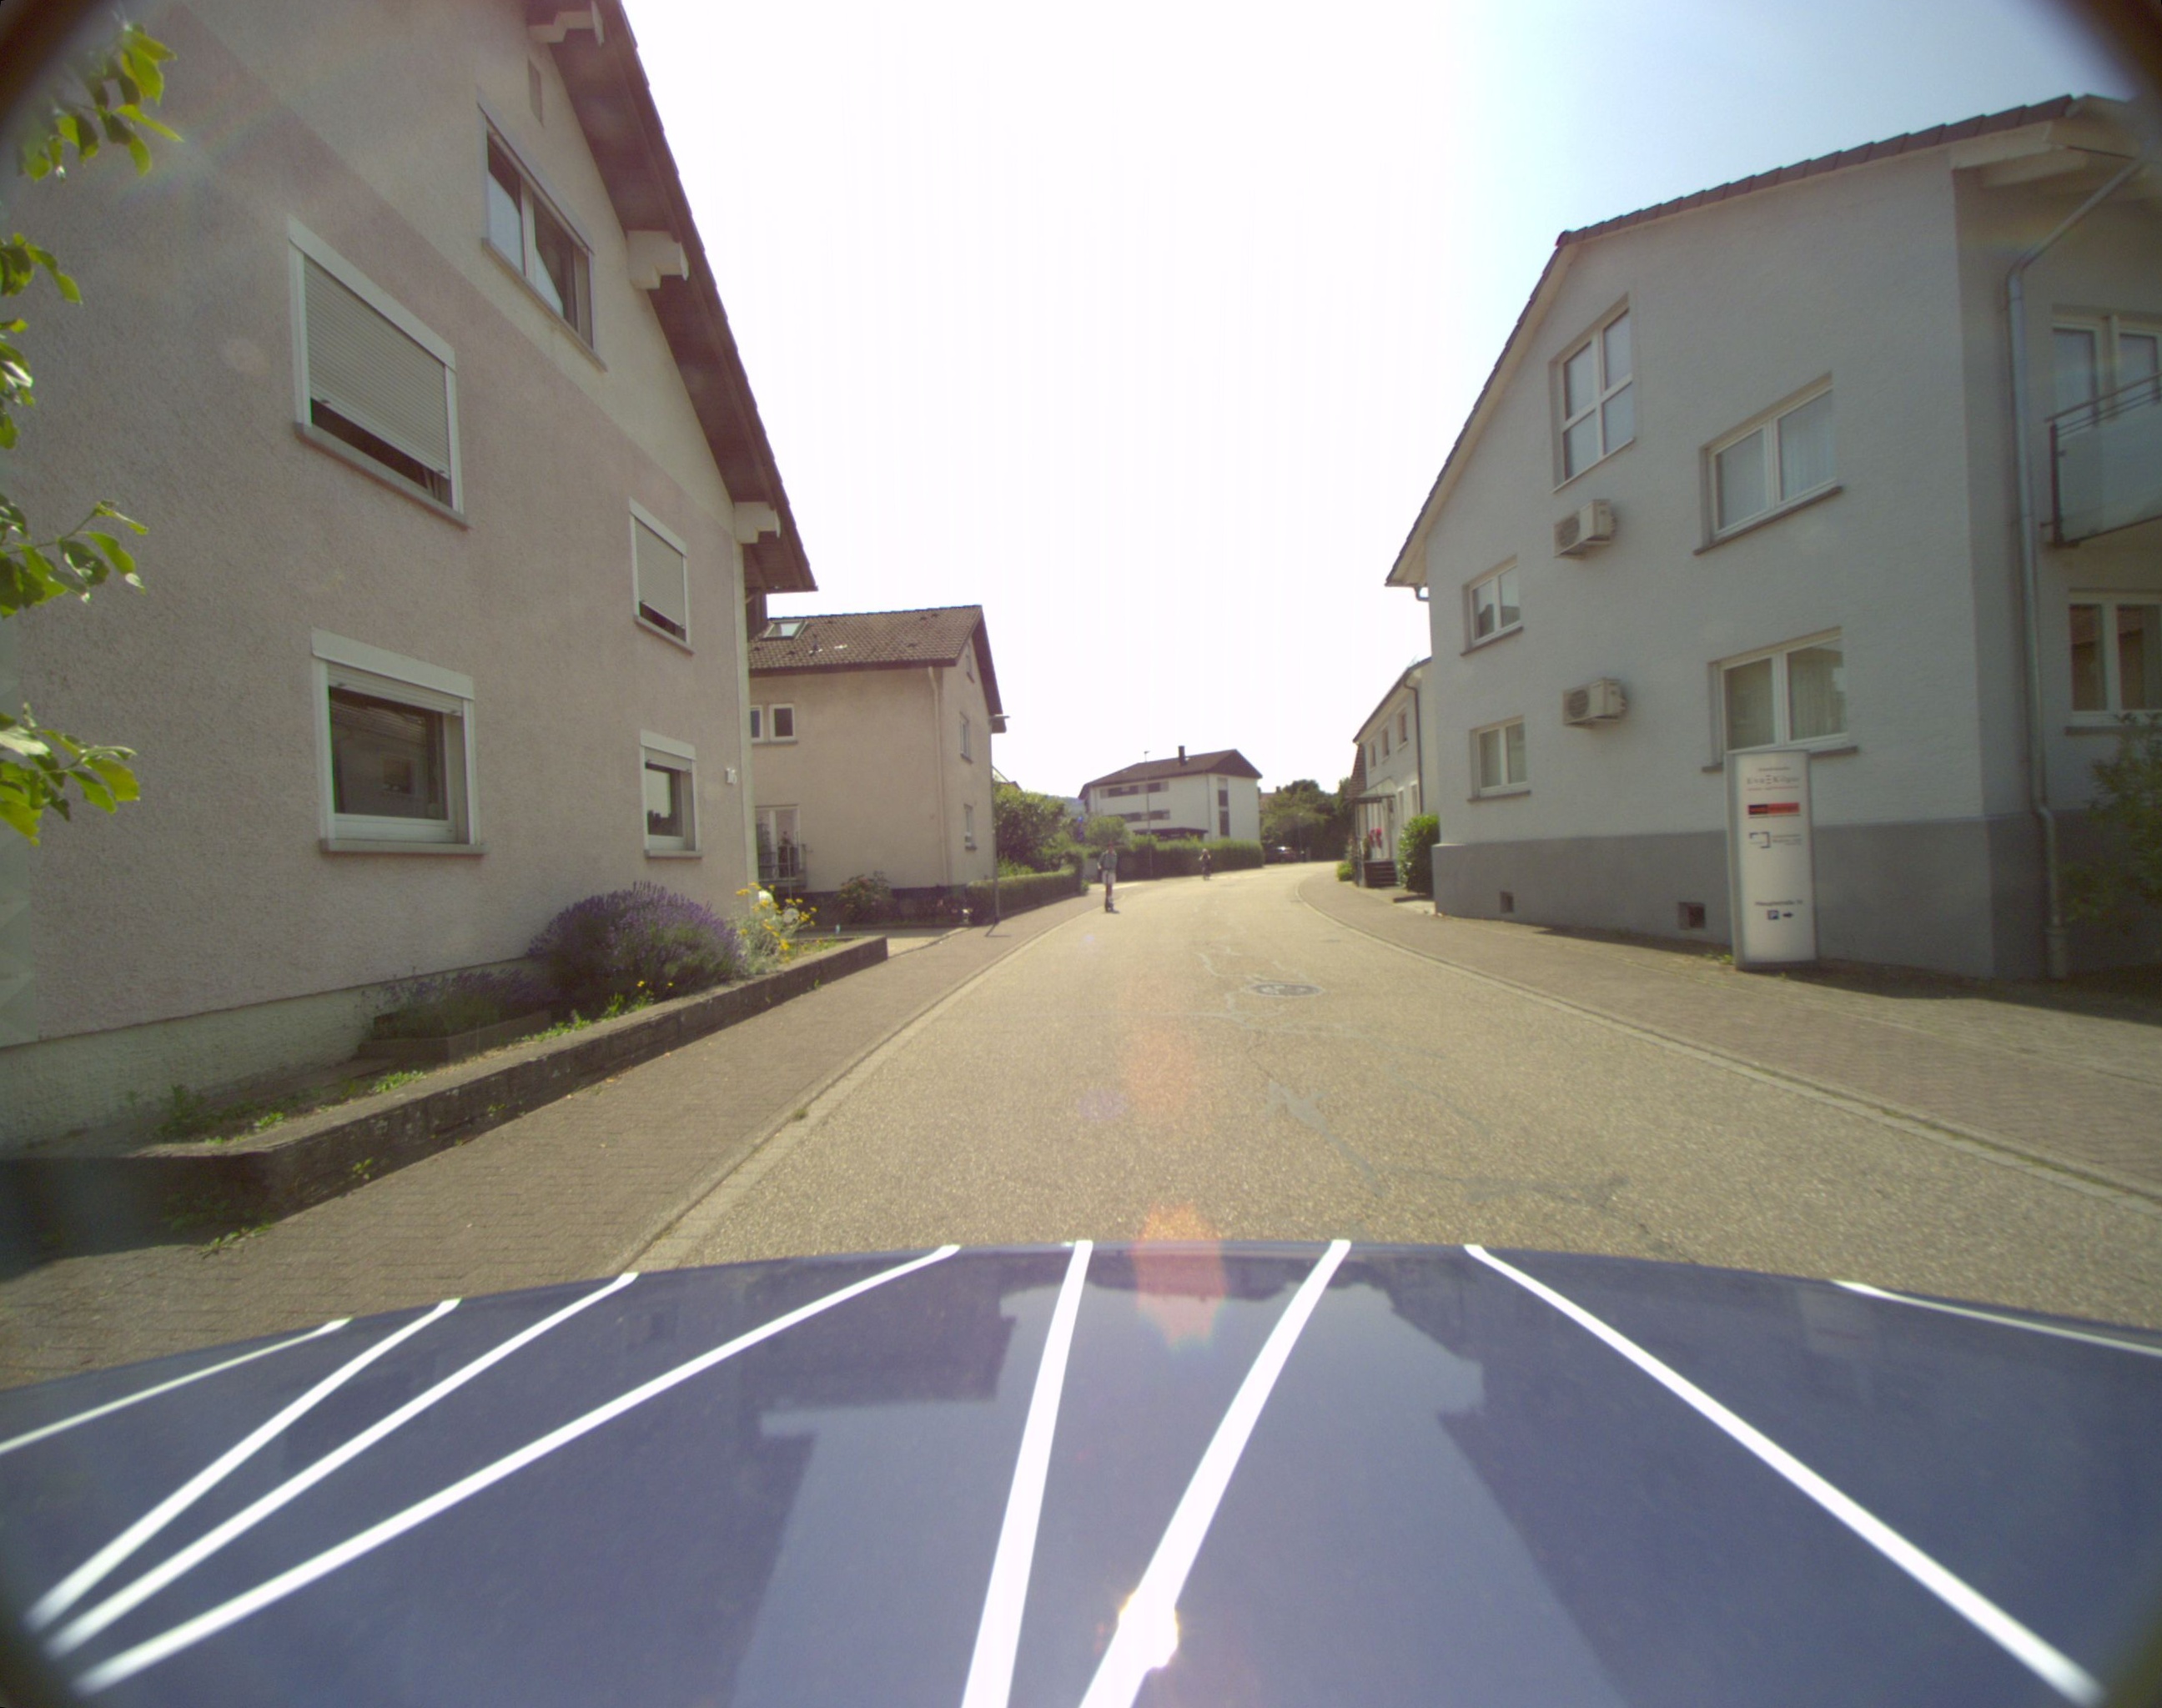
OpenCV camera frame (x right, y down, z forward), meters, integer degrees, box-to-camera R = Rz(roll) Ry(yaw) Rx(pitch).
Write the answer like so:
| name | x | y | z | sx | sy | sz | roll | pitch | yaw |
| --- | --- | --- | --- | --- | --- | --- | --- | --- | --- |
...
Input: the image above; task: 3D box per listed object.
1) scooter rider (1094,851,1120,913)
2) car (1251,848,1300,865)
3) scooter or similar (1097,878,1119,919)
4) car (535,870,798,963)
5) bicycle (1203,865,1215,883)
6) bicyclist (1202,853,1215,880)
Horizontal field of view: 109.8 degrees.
| name | x | y | z | sx | sy | sz | roll | pitch | yaw |
| --- | --- | --- | --- | --- | --- | --- | --- | --- | --- |
| scooter rider | 0.723 | 0.774 | 21.300 | 0.617 | 1.714 | 0.640 | -2 | 1 | 0 |
| car | 19.495 | 0.275 | 76.190 | 4.281 | 1.662 | 2.070 | -1 | 1 | 34 |
| scooter or similar | 0.748 | 1.234 | 21.295 | 0.542 | 1.083 | 0.691 | -2 | 0 | 0 |
| car | -7.300 | 1.063 | 13.670 | 3.758 | 1.452 | 1.680 | -1 | 0 | -3 |
| bicycle | 7.079 | 1.109 | 42.032 | 0.521 | 0.898 | 1.314 | -2 | 0 | 16 |
| bicyclist | 7.054 | 0.673 | 42.001 | 0.546 | 1.481 | 0.798 | -2 | 1 | 15 |
